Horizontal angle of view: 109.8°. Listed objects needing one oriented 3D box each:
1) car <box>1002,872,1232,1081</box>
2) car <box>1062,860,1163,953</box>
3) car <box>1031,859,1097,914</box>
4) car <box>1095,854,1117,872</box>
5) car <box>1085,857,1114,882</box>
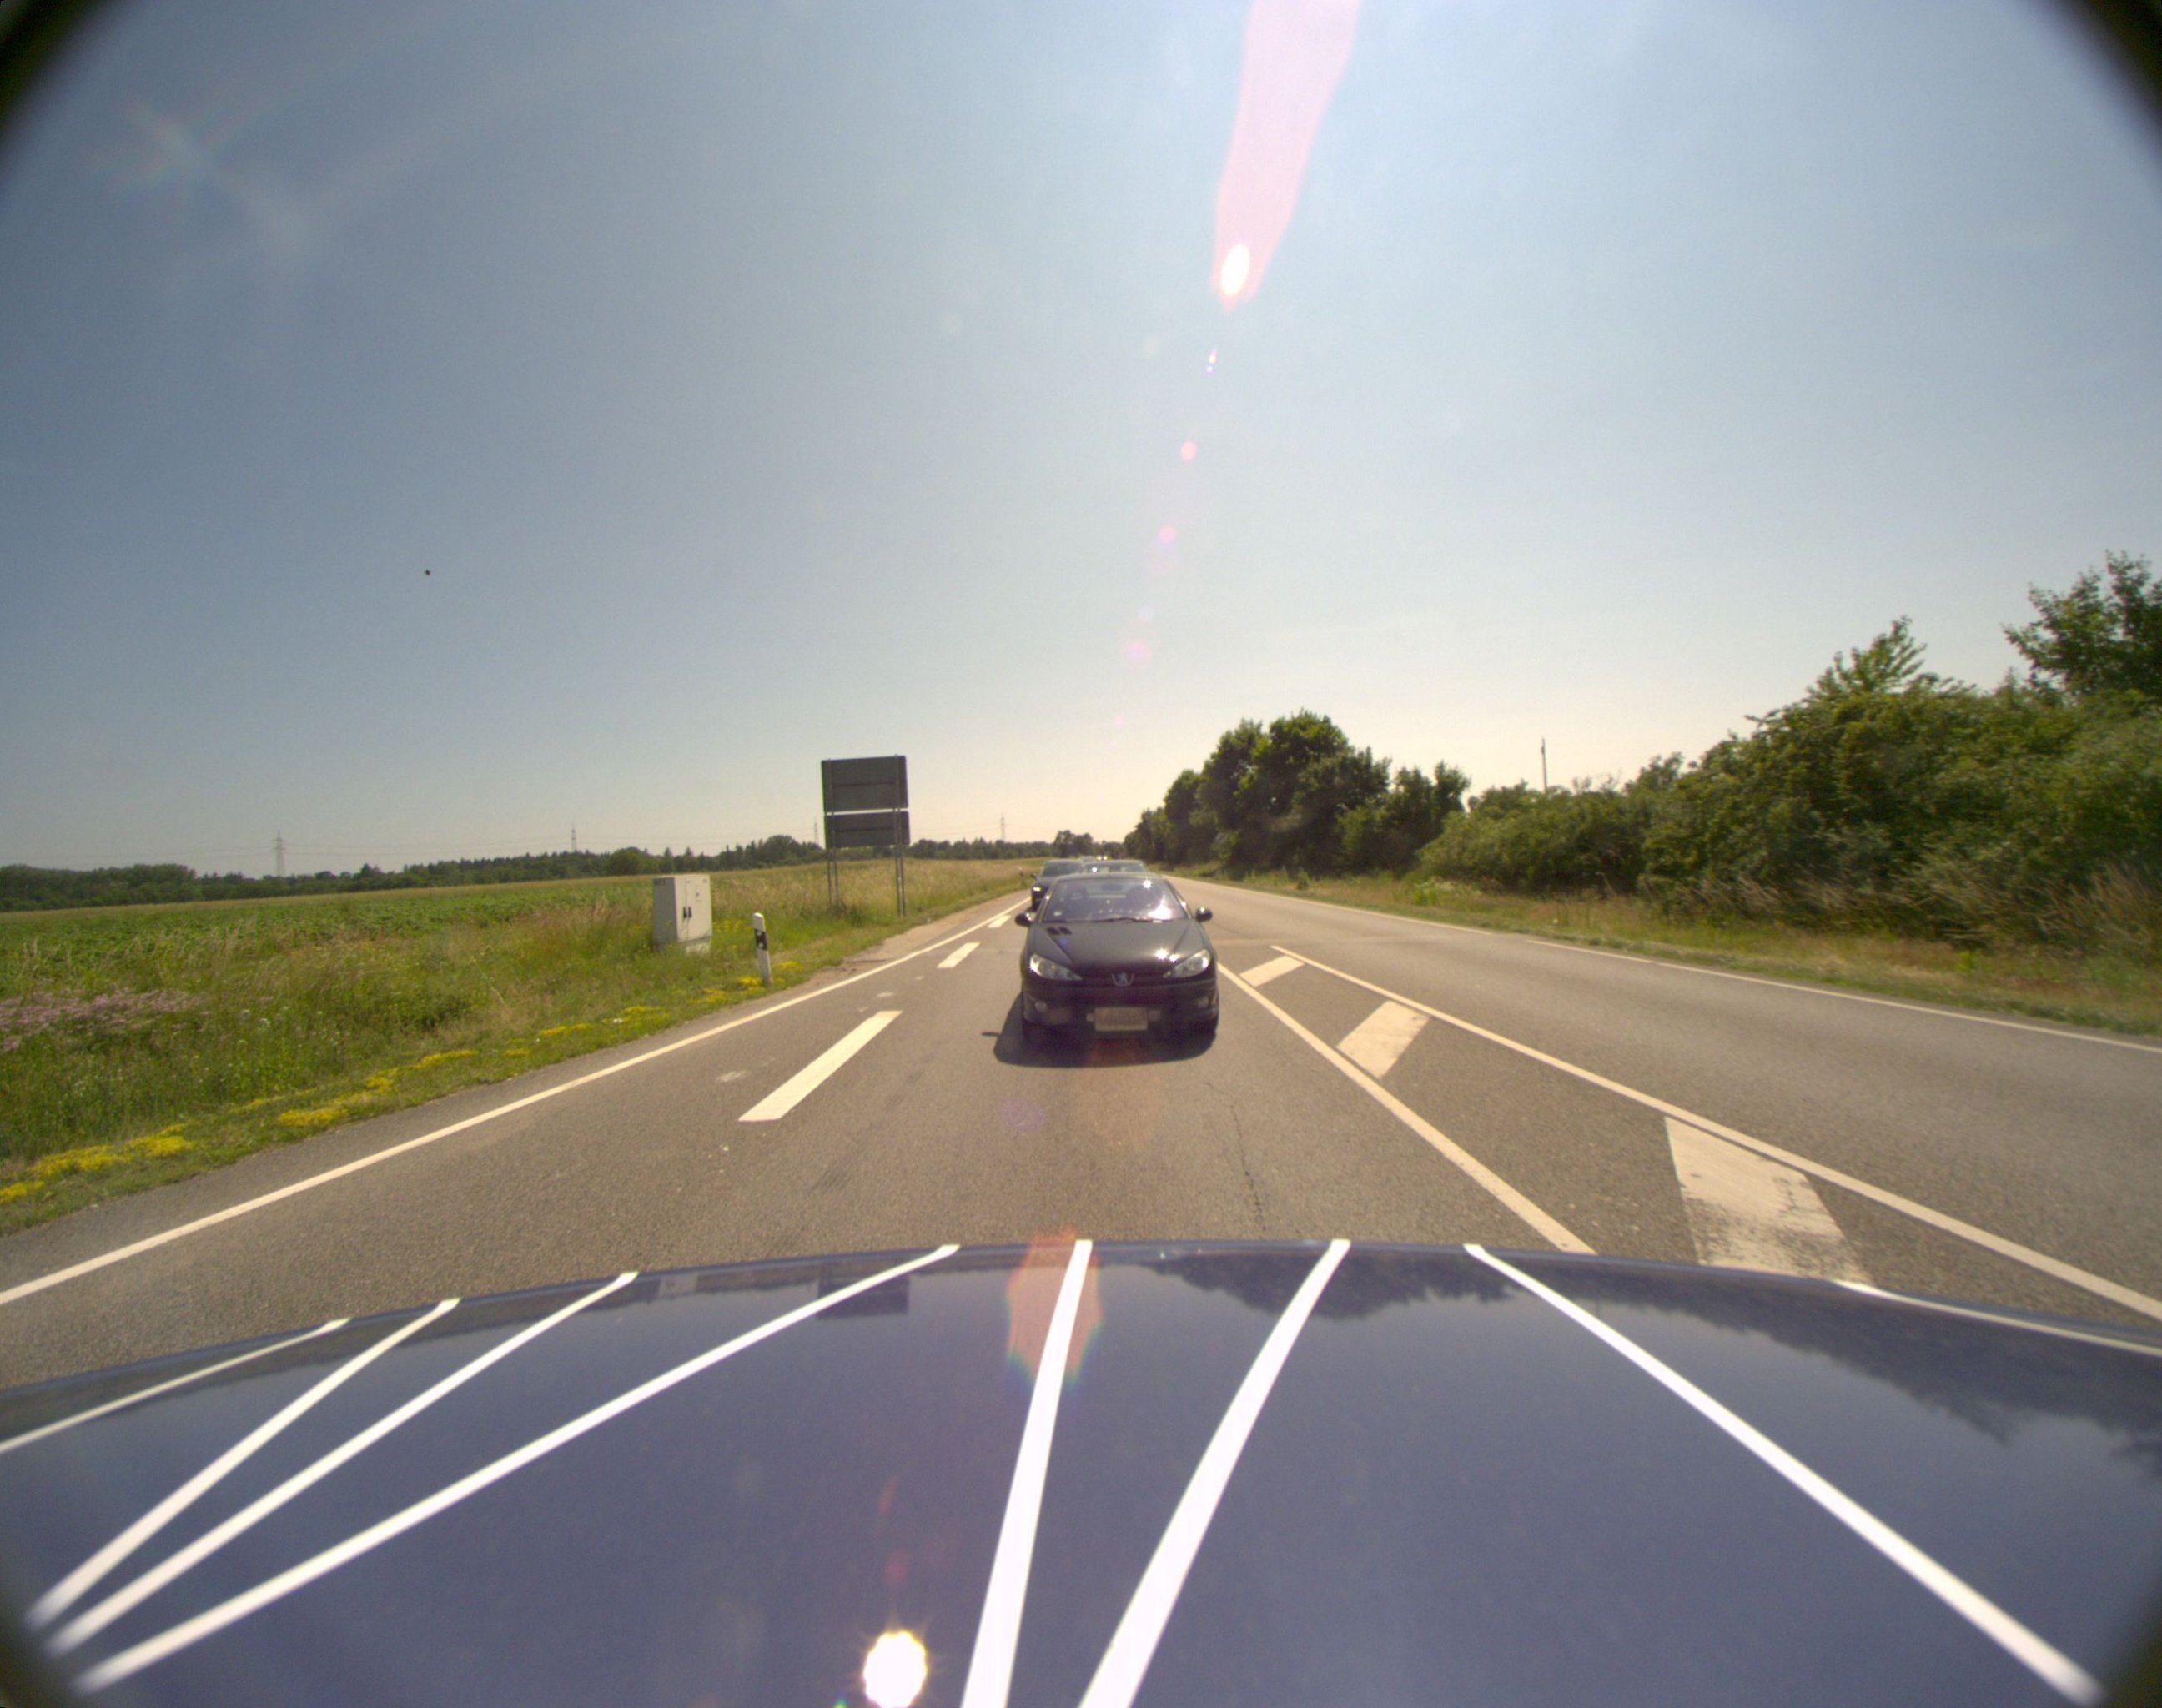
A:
[{"bbox_3d":[0.295,0.956,7.511,1.665,1.389,3.731,-2,0,1],"label":"car"},{"bbox_3d":[0.595,0.922,14.844,1.665,1.477,3.732,-2,0,2],"label":"car"},{"bbox_3d":[-0.435,0.934,23.463,1.665,1.449,4.174,-2,0,3],"label":"car"},{"bbox_3d":[1.967,0.699,60.487,1.588,1.294,3.631,-2,0,1],"label":"car"},{"bbox_3d":[1.048,0.883,44.786,1.588,1.294,3.631,-2,0,1],"label":"car"}]
